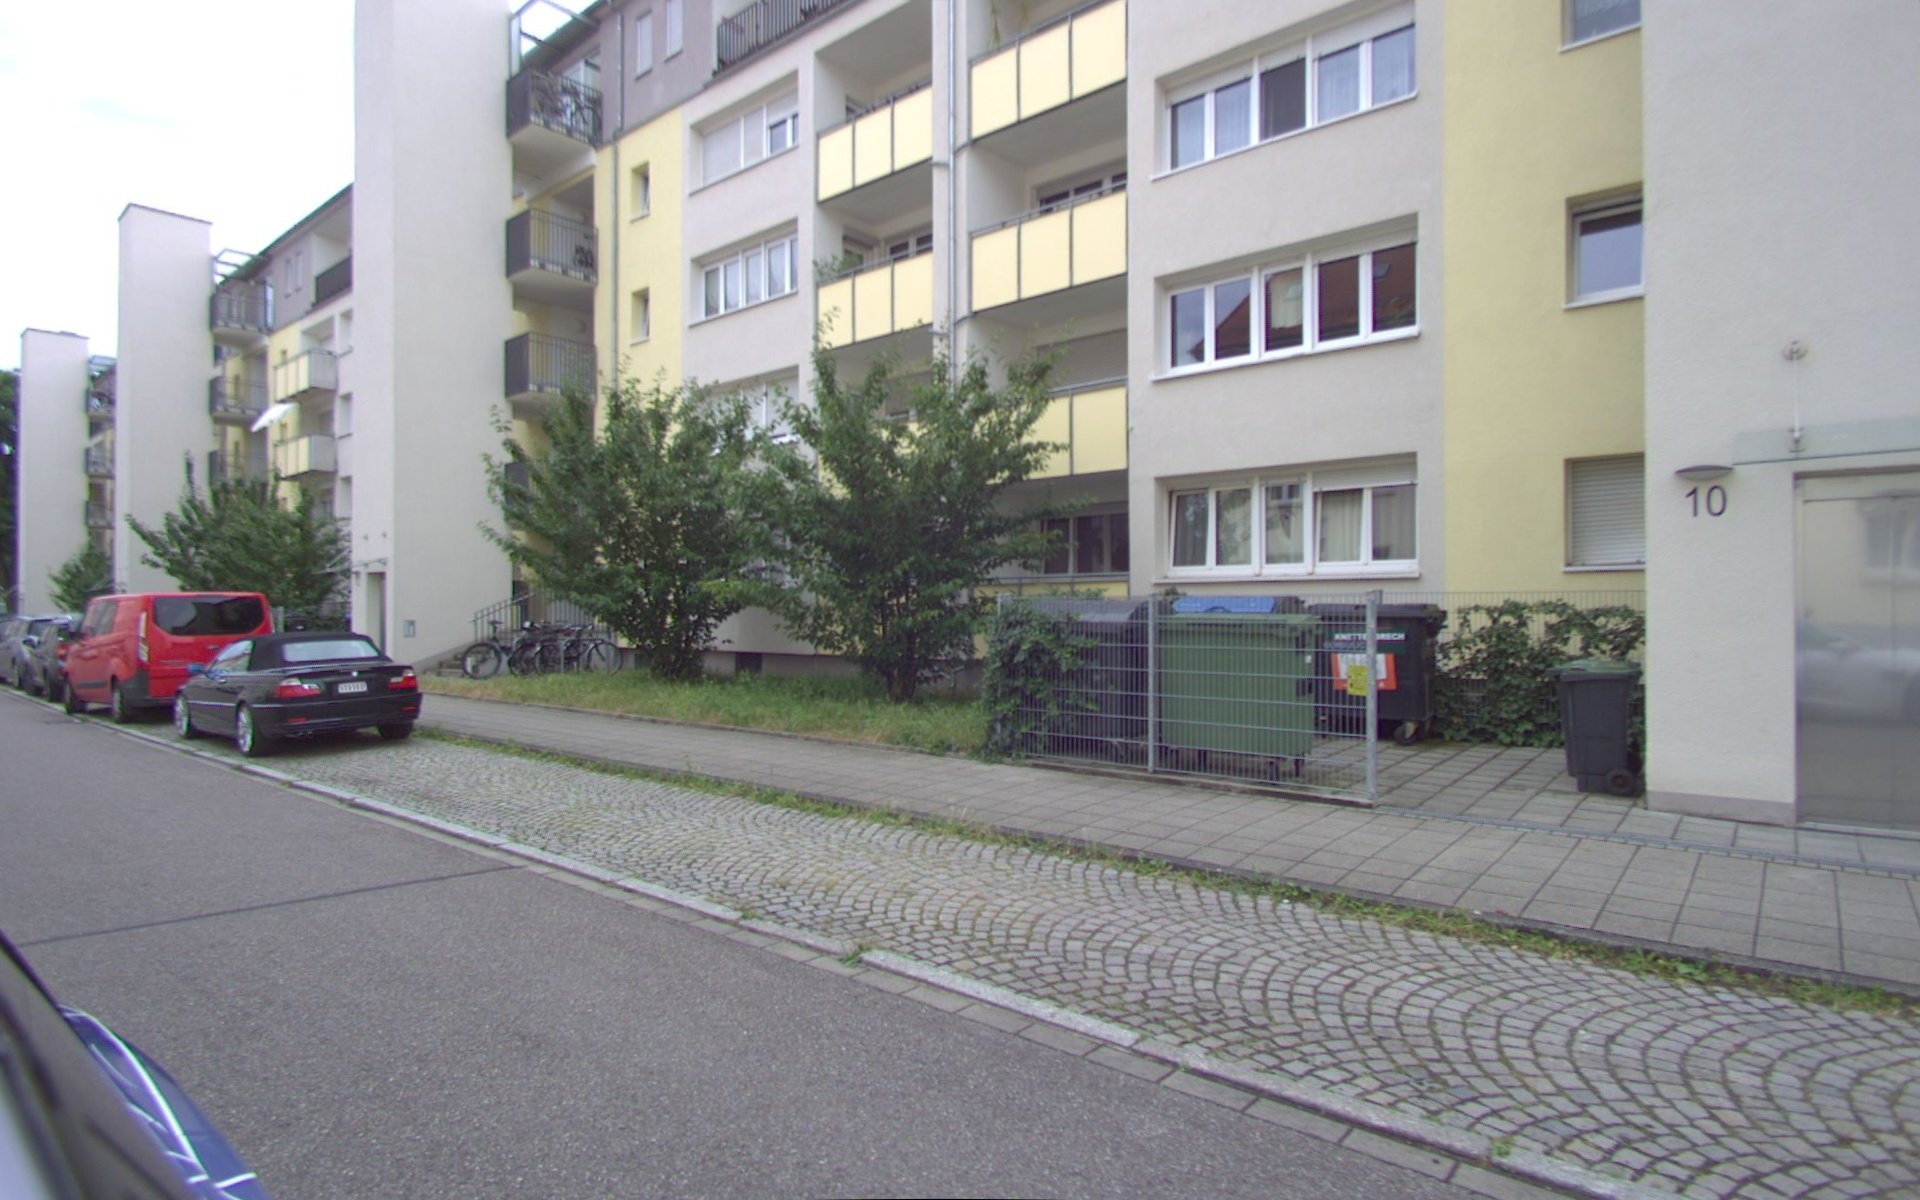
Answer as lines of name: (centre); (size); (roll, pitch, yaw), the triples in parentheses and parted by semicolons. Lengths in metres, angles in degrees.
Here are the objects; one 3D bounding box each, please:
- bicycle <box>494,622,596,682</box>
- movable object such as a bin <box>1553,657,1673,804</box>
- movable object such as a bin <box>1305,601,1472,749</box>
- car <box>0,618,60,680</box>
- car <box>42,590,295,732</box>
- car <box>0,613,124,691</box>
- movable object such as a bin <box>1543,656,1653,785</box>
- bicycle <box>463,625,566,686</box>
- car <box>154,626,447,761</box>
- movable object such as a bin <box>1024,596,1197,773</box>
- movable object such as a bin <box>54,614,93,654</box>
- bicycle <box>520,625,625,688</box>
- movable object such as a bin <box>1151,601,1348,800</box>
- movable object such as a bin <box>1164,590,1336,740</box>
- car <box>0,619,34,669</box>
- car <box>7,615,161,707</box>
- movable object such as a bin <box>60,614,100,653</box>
bicycle: (-8.227, 1.007, 20.120); (0.570, 1.127, 1.815); (-1, -1, 42)
movable object such as a bin: (4.783, 0.923, 7.410); (0.651, 0.972, 0.629); (-1, -1, 40)
movable object such as a bin: (4.252, 0.697, 10.057); (1.287, 1.350, 0.969); (-1, -1, 40)
car: (-25.520, 1.275, 27.149); (3.894, 1.542, 1.635); (-1, 1, 43)
car: (-13.040, 0.880, 16.571); (4.915, 1.968, 2.131); (-1, 0, 38)
car: (-21.135, 1.120, 23.358); (4.855, 1.582, 1.817); (-1, 0, 38)
movable object such as a bin: (5.064, 0.924, 8.035); (0.651, 0.929, 0.629); (-1, -1, 40)
bicycle: (-8.928, 1.090, 20.327); (0.604, 1.127, 1.817); (-1, -1, 39)
car: (-8.391, 1.039, 12.725); (4.357, 1.333, 1.852); (-1, 0, 39)
movable object such as a bin: (1.321, 0.696, 8.984); (1.288, 1.440, 0.795); (-1, -1, 43)
movable object such as a bin: (-35.031, 1.325, 40.005); (1.313, 1.512, 0.991); (-1, -1, 41)
bicycle: (-7.450, 1.066, 19.528); (1.813, 1.127, 0.571); (0, -1, -44)
movable object such as a bin: (2.299, 0.738, 8.093); (1.288, 1.440, 0.794); (-1, -1, 44)
movable object such as a bin: (3.145, 0.646, 10.960); (1.370, 1.475, 1.339); (-1, 0, 39)
car: (-29.701, 1.328, 30.887); (3.854, 1.449, 1.627); (-1, 1, 40)
car: (-17.381, 1.128, 20.022); (4.051, 1.582, 1.703); (-1, 1, 40)
movable object such as a bin: (-34.029, 1.290, 39.115); (1.313, 1.458, 0.991); (-1, 0, 41)
